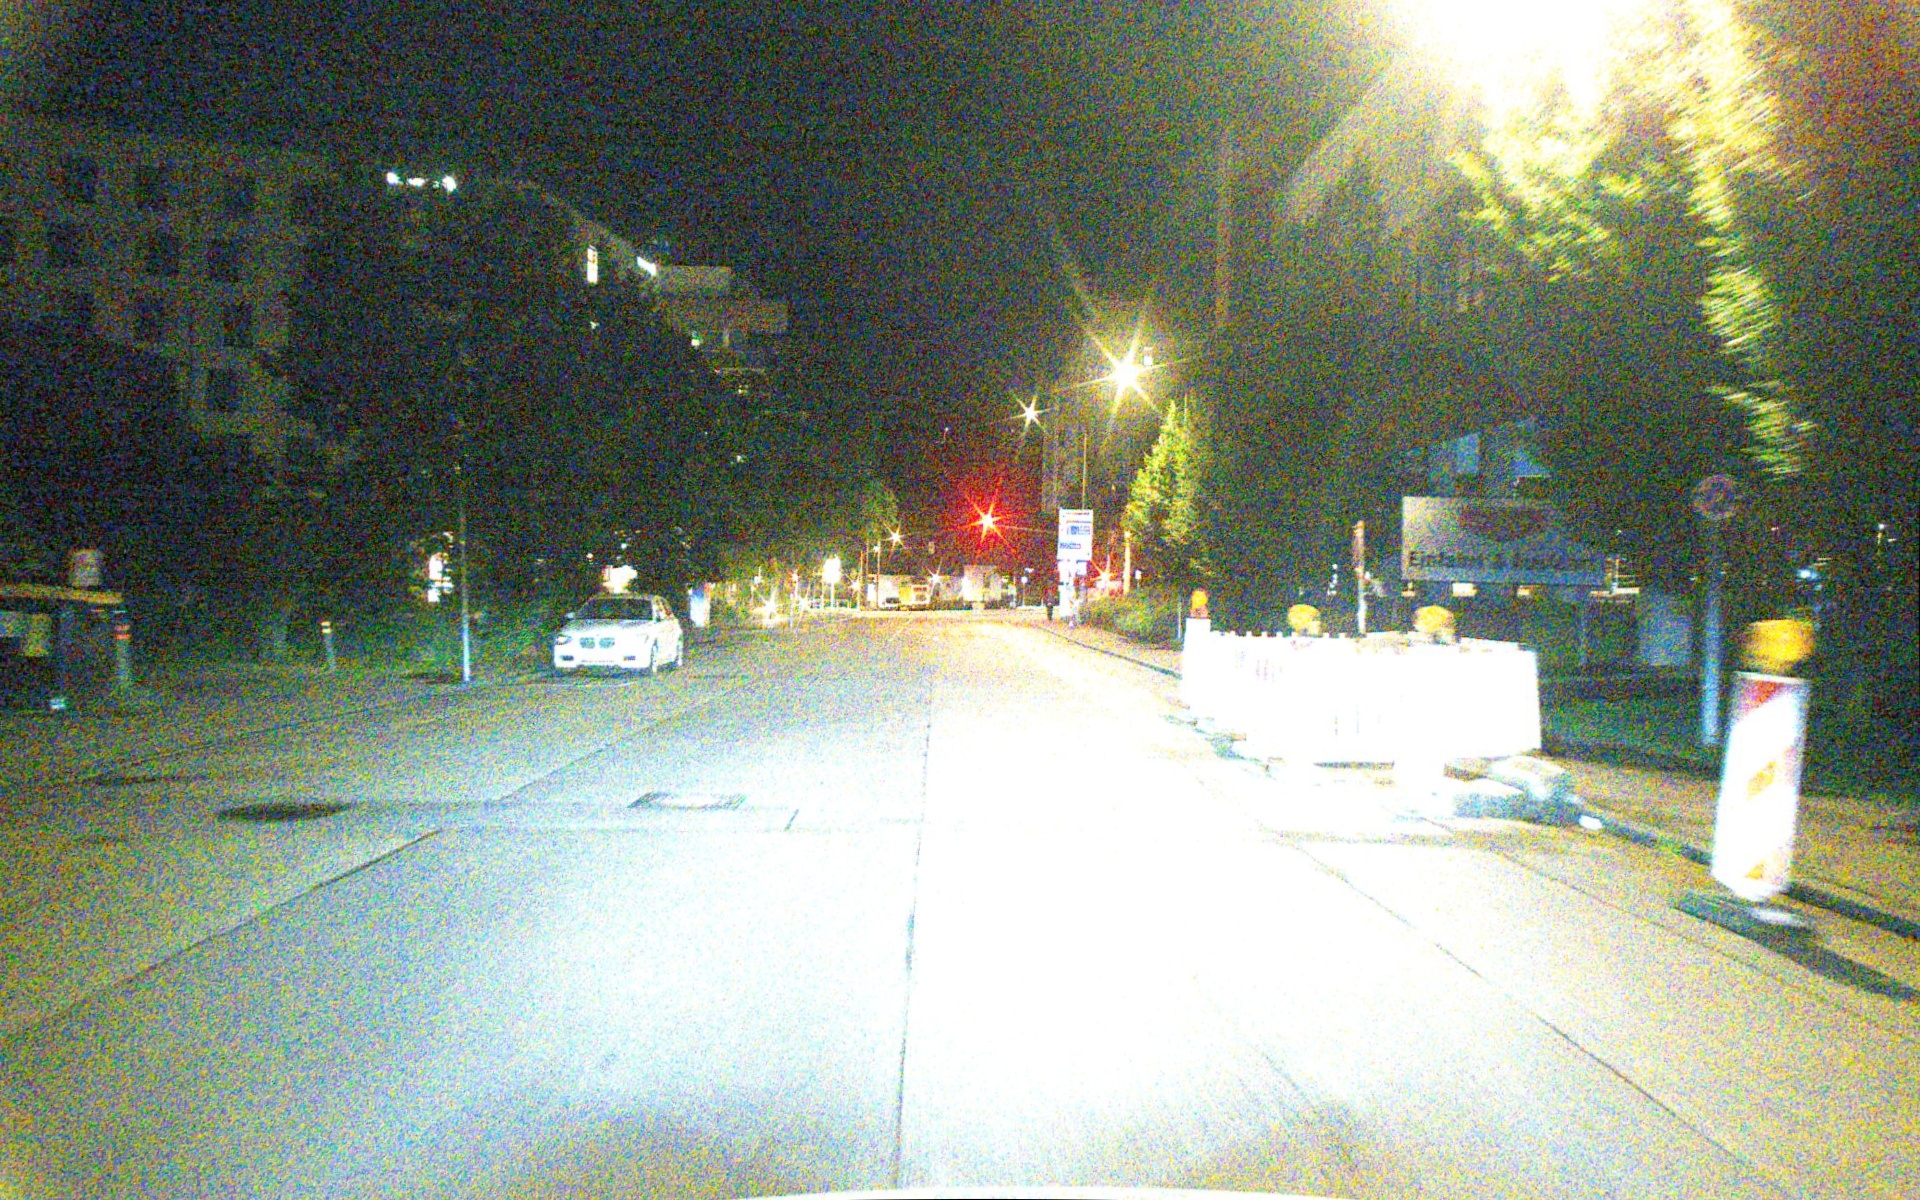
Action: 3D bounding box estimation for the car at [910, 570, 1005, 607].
[{"bbox_3d":[-0.371,-1.521,225.187,12.175,4.792,4.792,1,0,-15],"label":"car"}]

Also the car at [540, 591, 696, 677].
[{"bbox_3d":[-6.087,0.560,29.932,1.872,1.428,4.338,0,0,0],"label":"car"}]

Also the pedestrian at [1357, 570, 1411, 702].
[{"bbox_3d":[6.168,0.512,24.099,0.558,1.885,0.820,1,0,0],"label":"pedestrian"}]

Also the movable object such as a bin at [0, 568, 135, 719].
[{"bbox_3d":[-9.413,0.433,17.216,1.141,1.522,1.065,0,0,-3],"label":"movable object such as a bin"}]

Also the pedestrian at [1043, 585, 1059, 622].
[{"bbox_3d":[4.925,0.194,89.596,0.725,2.016,0.623,1,0,-17],"label":"pedestrian"}]

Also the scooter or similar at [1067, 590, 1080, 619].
[{"bbox_3d":[5.150,0.199,75.105,0.484,1.284,1.320,-1,0,1],"label":"scooter or similar"}]

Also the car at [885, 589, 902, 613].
[{"bbox_3d":[-8.571,0.125,212.124,1.955,3.026,3.996,1,0,-5],"label":"car"}]
